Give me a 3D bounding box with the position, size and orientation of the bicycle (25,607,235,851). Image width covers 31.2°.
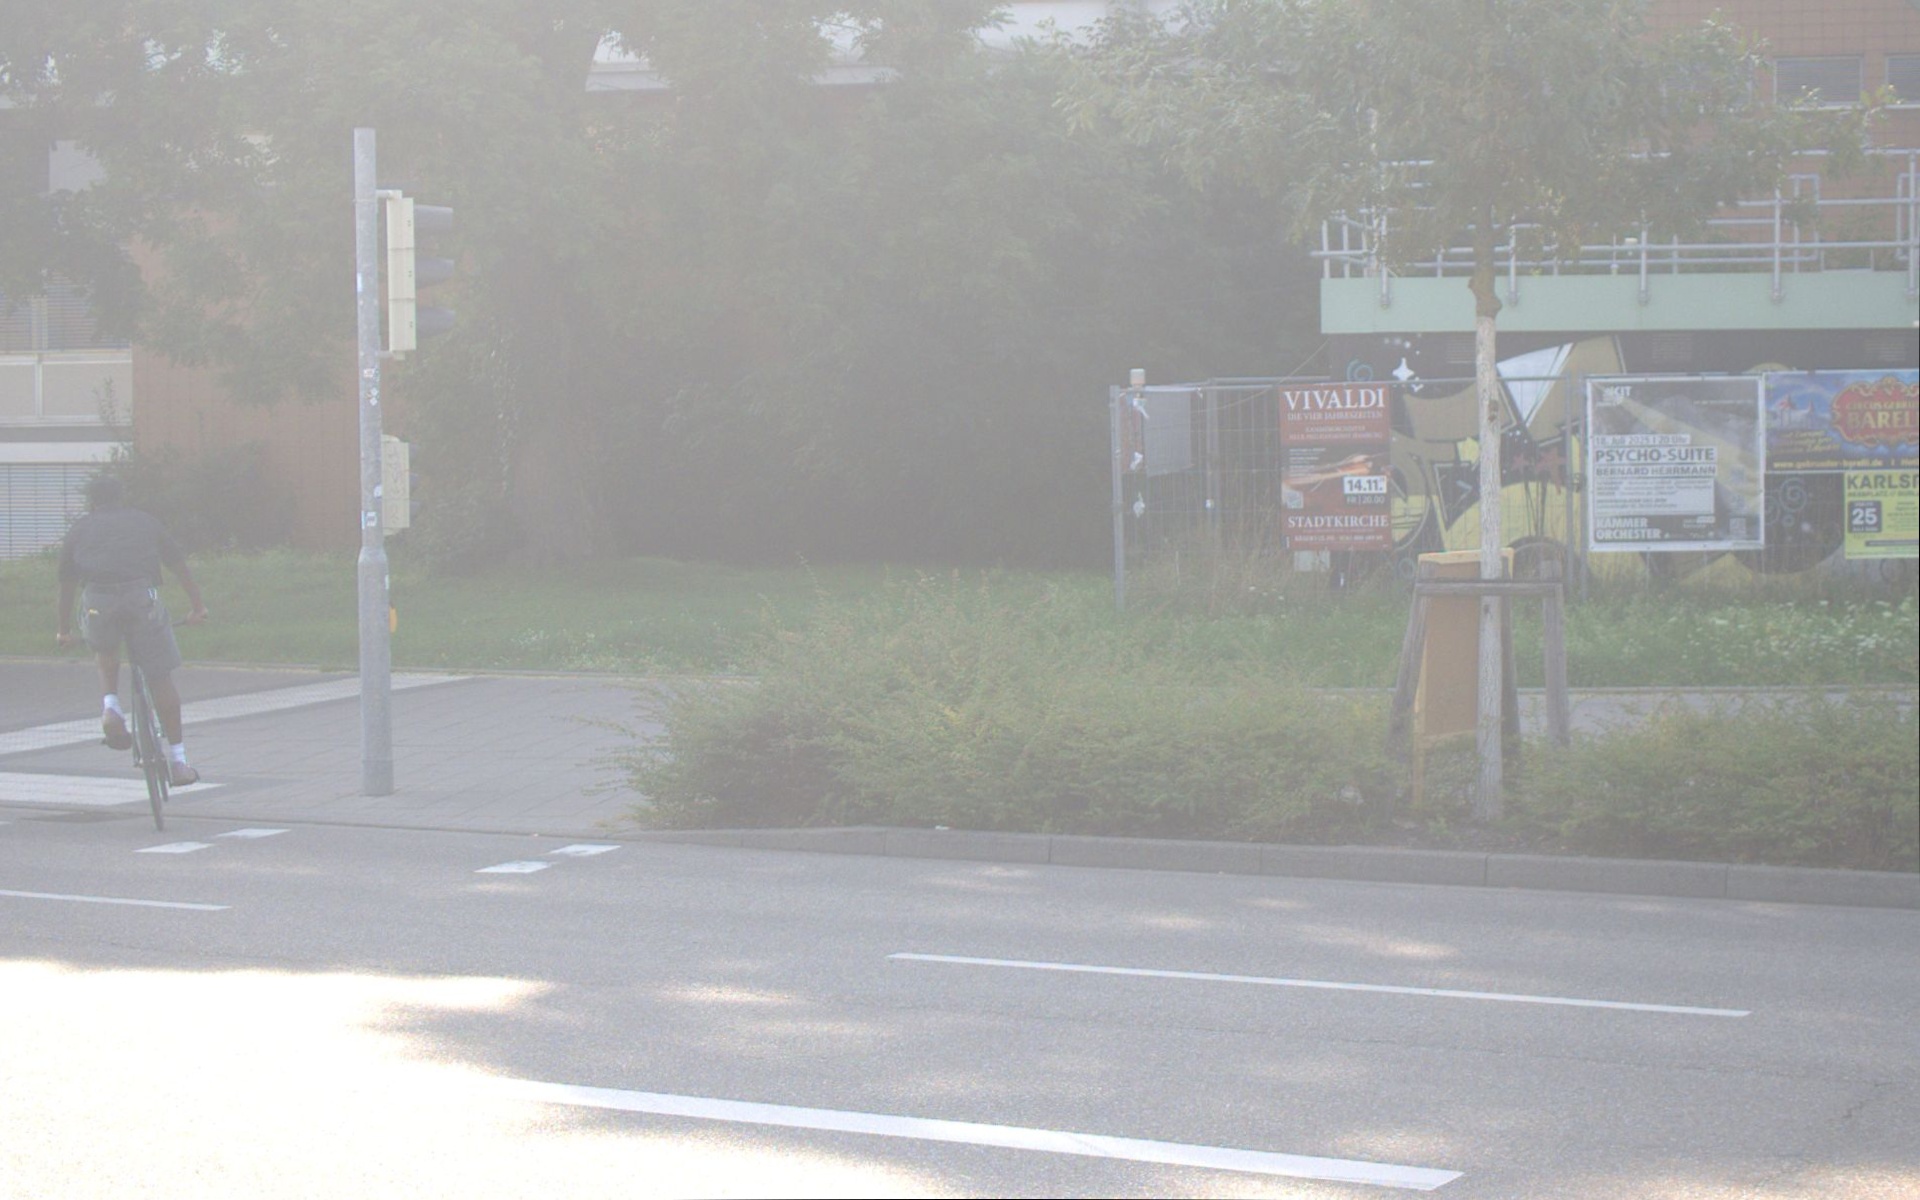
[{"bbox_3d":[-4.224,0.613,17.385,0.772,0.972,2.151,-3,5,-19],"label":"bicycle"}]

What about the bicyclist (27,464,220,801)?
[{"bbox_3d":[-4.187,0.137,17.181,0.772,1.573,0.991,-3,5,-19],"label":"bicyclist"}]
